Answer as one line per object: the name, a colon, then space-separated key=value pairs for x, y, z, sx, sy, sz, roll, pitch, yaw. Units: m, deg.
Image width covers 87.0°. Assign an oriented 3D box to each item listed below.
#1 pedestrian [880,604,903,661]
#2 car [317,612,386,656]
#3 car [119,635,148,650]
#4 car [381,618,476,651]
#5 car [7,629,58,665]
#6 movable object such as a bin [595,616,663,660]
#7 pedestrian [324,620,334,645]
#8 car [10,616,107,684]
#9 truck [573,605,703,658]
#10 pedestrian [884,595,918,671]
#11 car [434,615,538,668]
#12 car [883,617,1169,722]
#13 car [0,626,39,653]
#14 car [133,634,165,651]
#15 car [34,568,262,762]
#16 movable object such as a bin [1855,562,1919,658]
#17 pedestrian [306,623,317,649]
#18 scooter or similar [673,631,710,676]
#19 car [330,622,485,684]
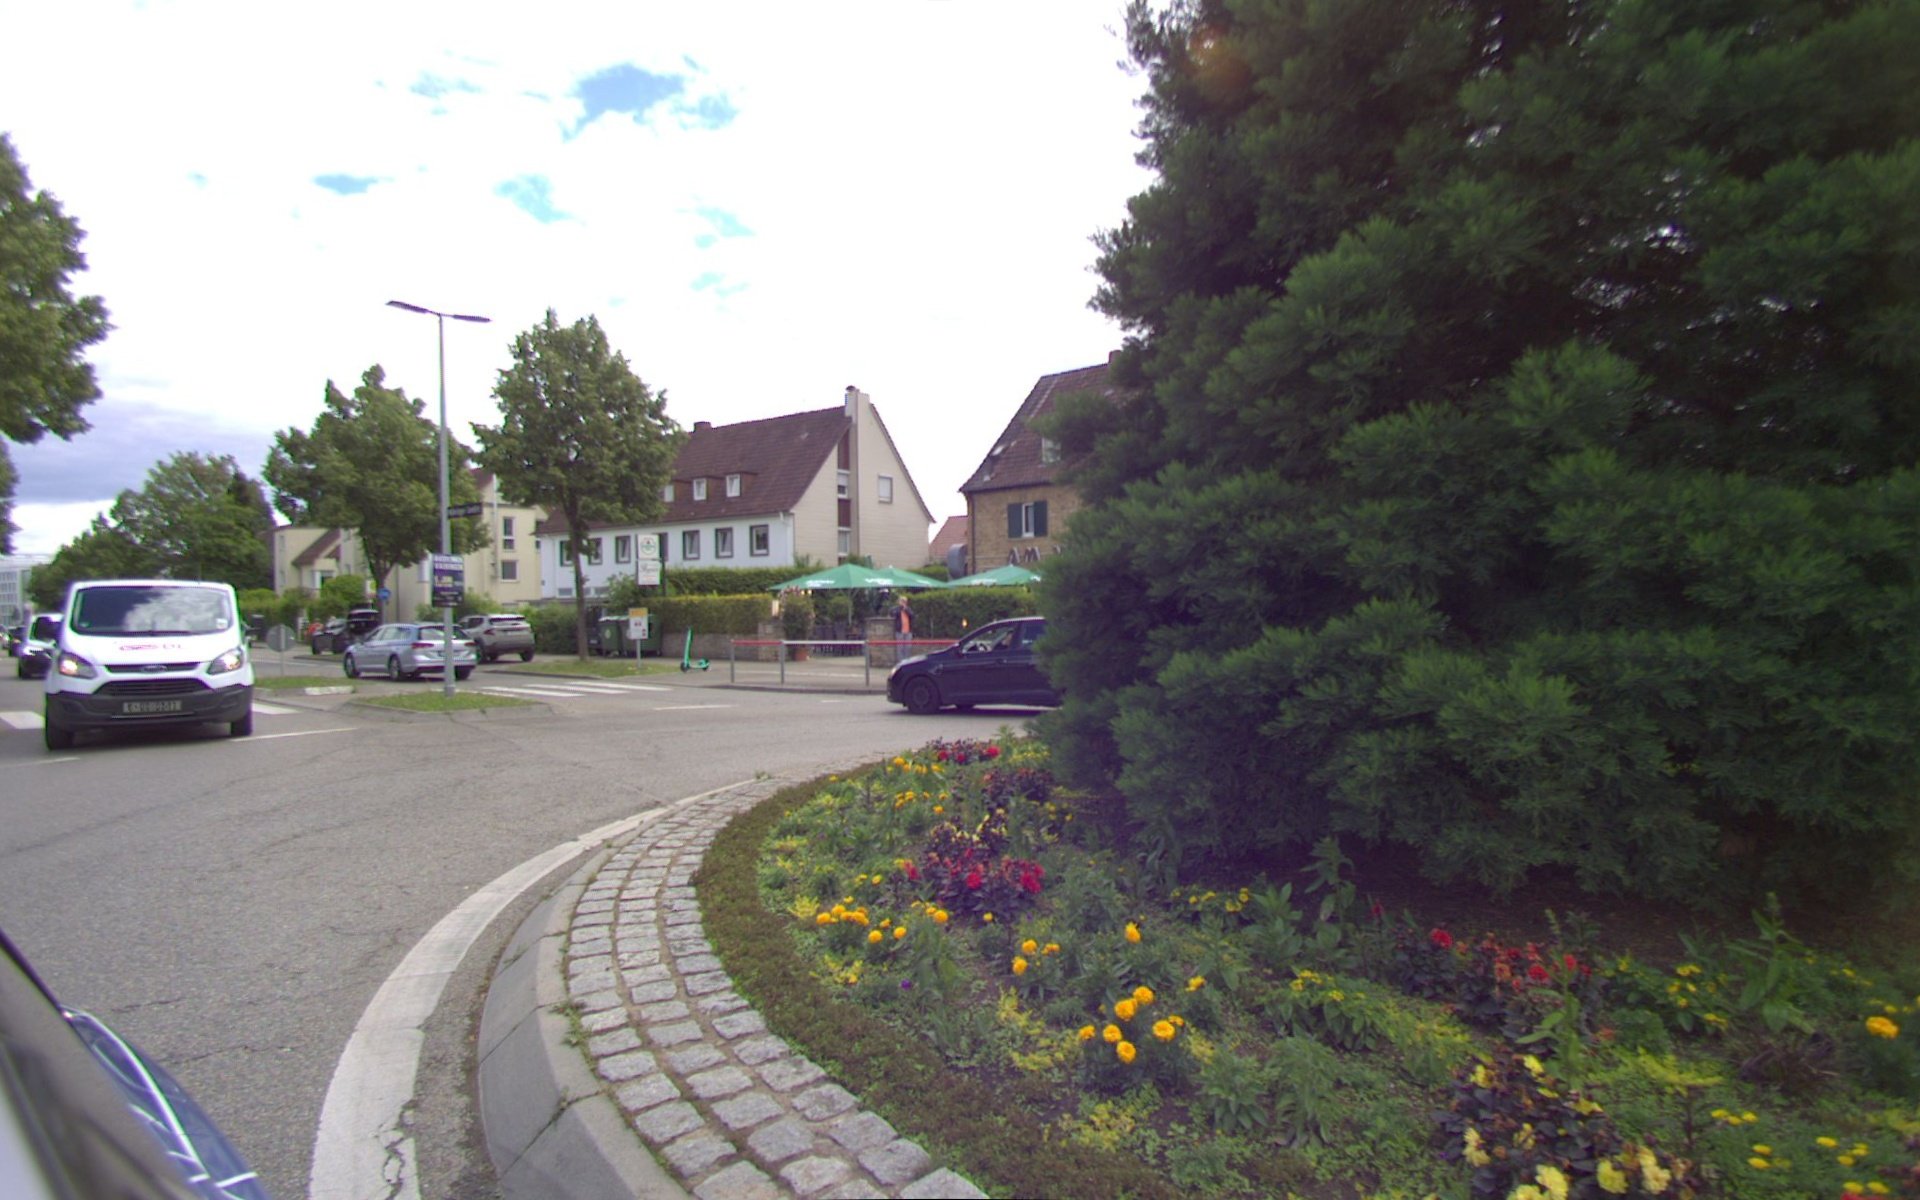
pedestrian: x=-2.142 y=1.013 z=31.455 sx=0.481 sy=1.740 sz=0.568 roll=0 pitch=-1 yaw=-30
car: x=-27.050 y=1.487 z=44.950 sx=1.727 sy=1.843 sz=4.050 roll=-1 pitch=-1 yaw=-45
car: x=-71.123 y=3.676 z=87.100 sx=3.194 sy=1.236 sz=1.477 roll=-2 pitch=-1 yaw=43
car: x=-27.584 y=1.758 z=52.637 sx=1.750 sy=1.551 sz=3.996 roll=-2 pitch=-1 yaw=38
car: x=-46.662 y=2.326 z=50.874 sx=1.799 sy=1.681 sz=4.003 roll=0 pitch=-1 yaw=-44
movable object such as a bin: x=-11.393 y=1.302 z=34.796 sx=2.721 sy=1.427 sz=0.971 roll=-2 pitch=-1 yaw=41
pedestrian: x=-34.009 y=1.754 z=54.526 sx=0.381 sy=1.375 sz=0.413 roll=0 pitch=-1 yaw=-45
car: x=-25.743 y=1.371 z=28.854 sx=1.899 sy=1.767 sz=4.003 roll=0 pitch=-1 yaw=-44
truck: x=-12.282 y=1.178 z=38.837 sx=1.863 sy=1.864 sz=4.443 roll=-2 pitch=-1 yaw=38
pedestrian: x=-1.466 y=0.813 z=25.052 sx=0.563 sy=1.840 sz=0.633 roll=-2 pitch=0 yaw=24
car: x=-16.155 y=1.388 z=34.438 sx=4.046 sy=1.648 sz=1.728 roll=-2 pitch=-1 yaw=41
car: x=0.940 y=0.961 z=14.926 sx=3.961 sy=1.386 sz=1.526 roll=-1 pitch=-2 yaw=28
car: x=-61.387 y=2.530 z=66.037 sx=1.799 sy=1.681 sz=4.003 roll=0 pitch=-1 yaw=-44
car: x=-62.139 y=3.245 z=77.559 sx=3.194 sy=1.175 sz=1.477 roll=-2 pitch=-1 yaw=43
car: x=-10.599 y=0.726 z=13.167 sx=1.969 sy=2.029 sz=5.058 roll=0 pitch=-1 yaw=-41
movable object such as a bin: x=30.532 y=0.313 z=32.424 sx=2.678 sy=2.938 sz=3.649 roll=-2 pitch=-1 yaw=41
pedestrian: x=-35.002 y=1.954 z=54.622 sx=0.381 sy=1.375 sz=0.413 roll=0 pitch=-1 yaw=-45
scooter or similar: x=-6.997 y=1.380 z=26.401 sx=0.379 sy=1.140 sz=1.040 roll=-1 pitch=-1 yaw=21
car: x=-14.356 y=1.343 z=26.183 sx=4.684 sy=1.465 sz=1.784 roll=-2 pitch=-2 yaw=37
